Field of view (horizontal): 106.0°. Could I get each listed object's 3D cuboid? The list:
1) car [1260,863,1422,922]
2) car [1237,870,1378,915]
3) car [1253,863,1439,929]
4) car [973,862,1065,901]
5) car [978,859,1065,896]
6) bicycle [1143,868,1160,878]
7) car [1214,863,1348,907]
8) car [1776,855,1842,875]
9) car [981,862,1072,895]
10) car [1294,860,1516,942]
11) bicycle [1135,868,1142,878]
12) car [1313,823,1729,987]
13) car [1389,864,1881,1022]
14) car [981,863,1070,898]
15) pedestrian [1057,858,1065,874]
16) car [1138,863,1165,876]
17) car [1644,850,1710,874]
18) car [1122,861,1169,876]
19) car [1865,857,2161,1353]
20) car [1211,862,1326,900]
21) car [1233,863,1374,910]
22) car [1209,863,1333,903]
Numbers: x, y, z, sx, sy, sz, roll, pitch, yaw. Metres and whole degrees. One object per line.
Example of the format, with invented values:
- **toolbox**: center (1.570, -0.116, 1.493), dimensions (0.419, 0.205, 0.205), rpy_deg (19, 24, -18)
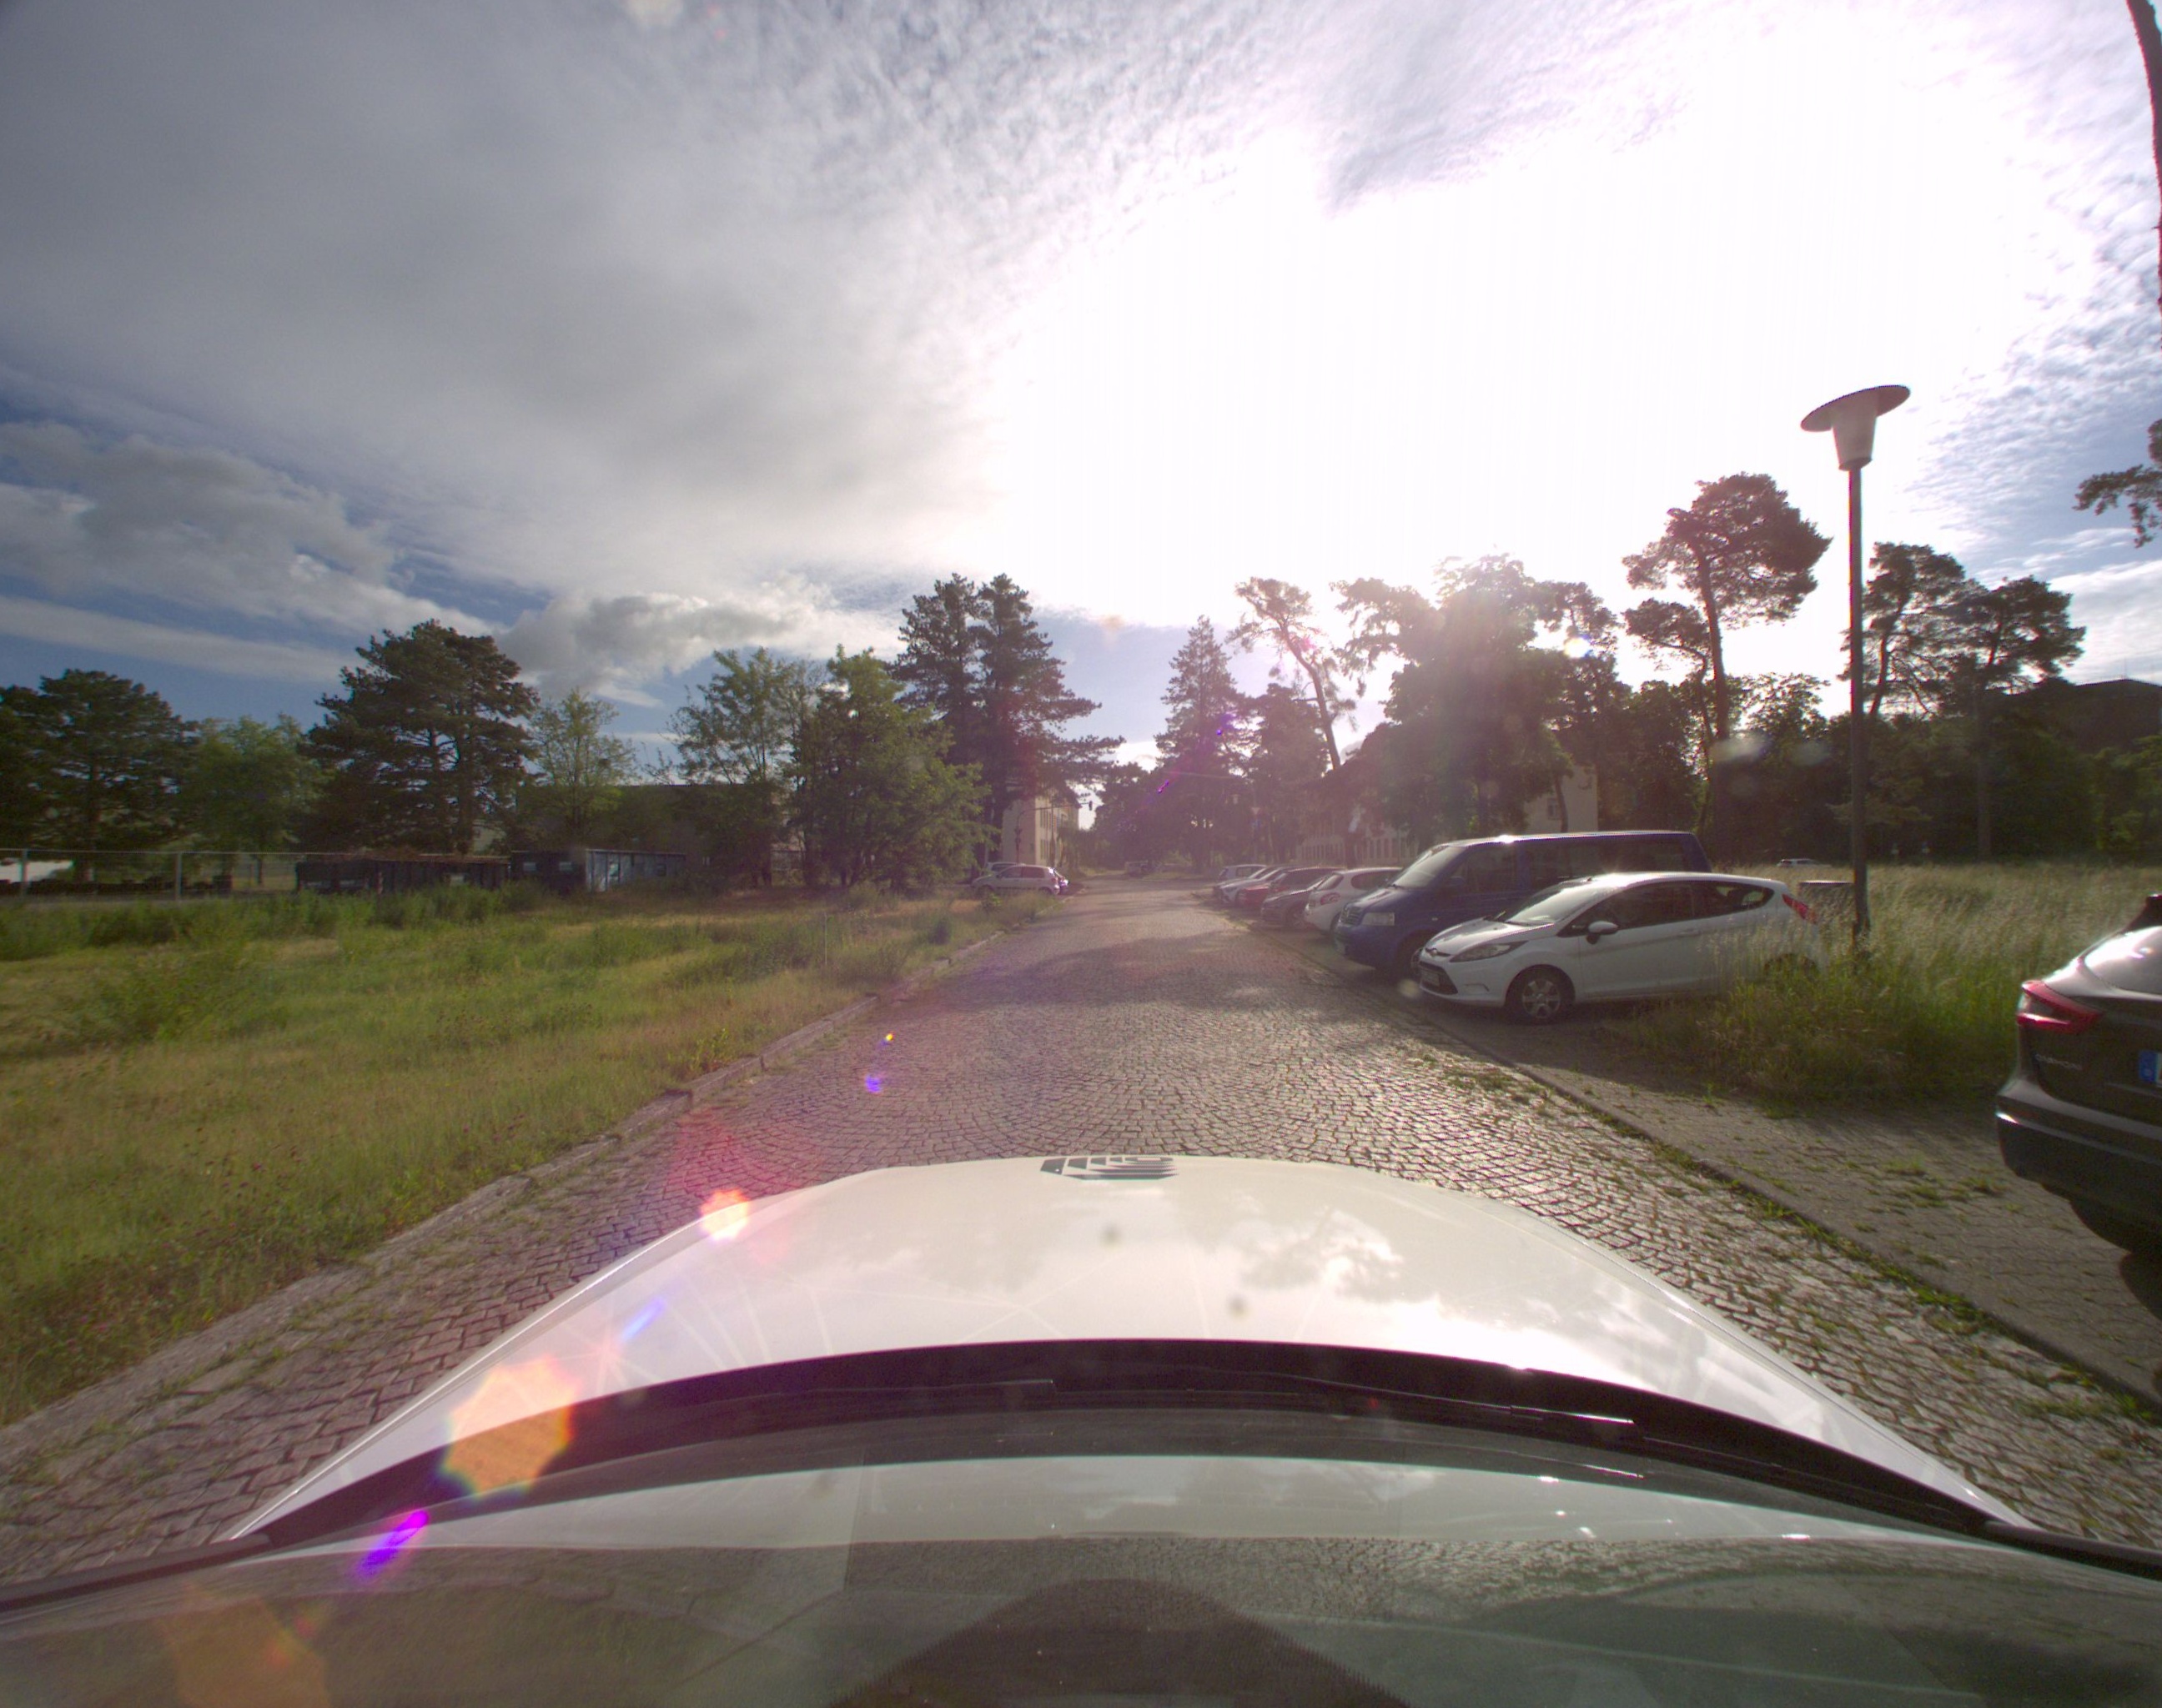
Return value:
- **car**: center (7.097, 1.037, 22.564), dimensions (3.934, 1.495, 1.773), rpy_deg (-1, -2, 3)
- **car**: center (6.920, 1.176, 25.214), dimensions (3.934, 1.261, 1.728), rpy_deg (-1, -2, 3)
- **car**: center (6.281, 0.992, 19.676), dimensions (3.934, 1.467, 1.832), rpy_deg (-1, -2, 3)
- **car**: center (-2.621, 1.151, 34.869), dimensions (3.669, 1.474, 1.850), rpy_deg (2, -1, 1)
- **car**: center (-2.881, 1.166, 40.242), dimensions (4.110, 1.600, 1.857), rpy_deg (2, -1, -2)
- **bicycle**: center (7.451, 1.994, 86.442), dimensions (1.786, 0.999, 0.644), rpy_deg (-1, 0, 2)
- **car**: center (7.255, 1.113, 29.858), dimensions (4.488, 1.474, 1.851), rpy_deg (-1, -2, 3)
- **car**: center (62.199, 0.915, 69.610), dimensions (3.917, 1.680, 1.857), rpy_deg (0, -1, 1)
- **car**: center (-2.816, 1.255, 42.786), dimensions (4.571, 1.455, 1.904), rpy_deg (2, 0, 1)
- **car**: center (6.550, 0.949, 16.800), dimensions (3.858, 1.530, 1.809), rpy_deg (-1, -2, 3)
- **bicycle**: center (5.870, 1.958, 82.922), dimensions (0.725, 0.999, 1.800), rpy_deg (-1, 0, 3)
- **car**: center (5.915, 0.681, 11.472), dimensions (4.714, 1.929, 1.993), rpy_deg (-2, -2, 2)
- **car**: center (5.819, 0.897, 8.955), dimensions (4.178, 1.470, 1.807), rpy_deg (-1, -2, -1)
- **car**: center (-2.497, 1.211, 37.523), dimensions (3.813, 1.429, 1.860), rpy_deg (2, -1, 2)
- **pedestrian**: center (-2.444, 1.467, 99.318), dimensions (0.981, 1.963, 0.933), rpy_deg (0, -2, 3)
- **car**: center (8.553, 1.889, 98.787), dimensions (3.032, 1.465, 1.714), rpy_deg (0, -2, -10)
- **car**: center (62.690, 0.864, 85.731), dimensions (5.135, 2.536, 2.267), rpy_deg (0, -2, 4)
- **car**: center (8.101, 1.846, 102.384), dimensions (5.502, 1.916, 2.246), rpy_deg (0, -2, -11)
- **car**: center (5.546, 0.767, 2.601), dimensions (4.174, 1.589, 1.879), rpy_deg (-1, -2, 2)
- **car**: center (8.042, 1.142, 35.234), dimensions (4.527, 1.505, 1.933), rpy_deg (-1, -2, 1)
- **car**: center (7.454, 1.087, 27.573), dimensions (4.323, 1.474, 1.741), rpy_deg (-1, -2, 3)
- **car**: center (7.534, 1.151, 32.628), dimensions (4.493, 1.474, 1.894), rpy_deg (-1, -2, -1)
